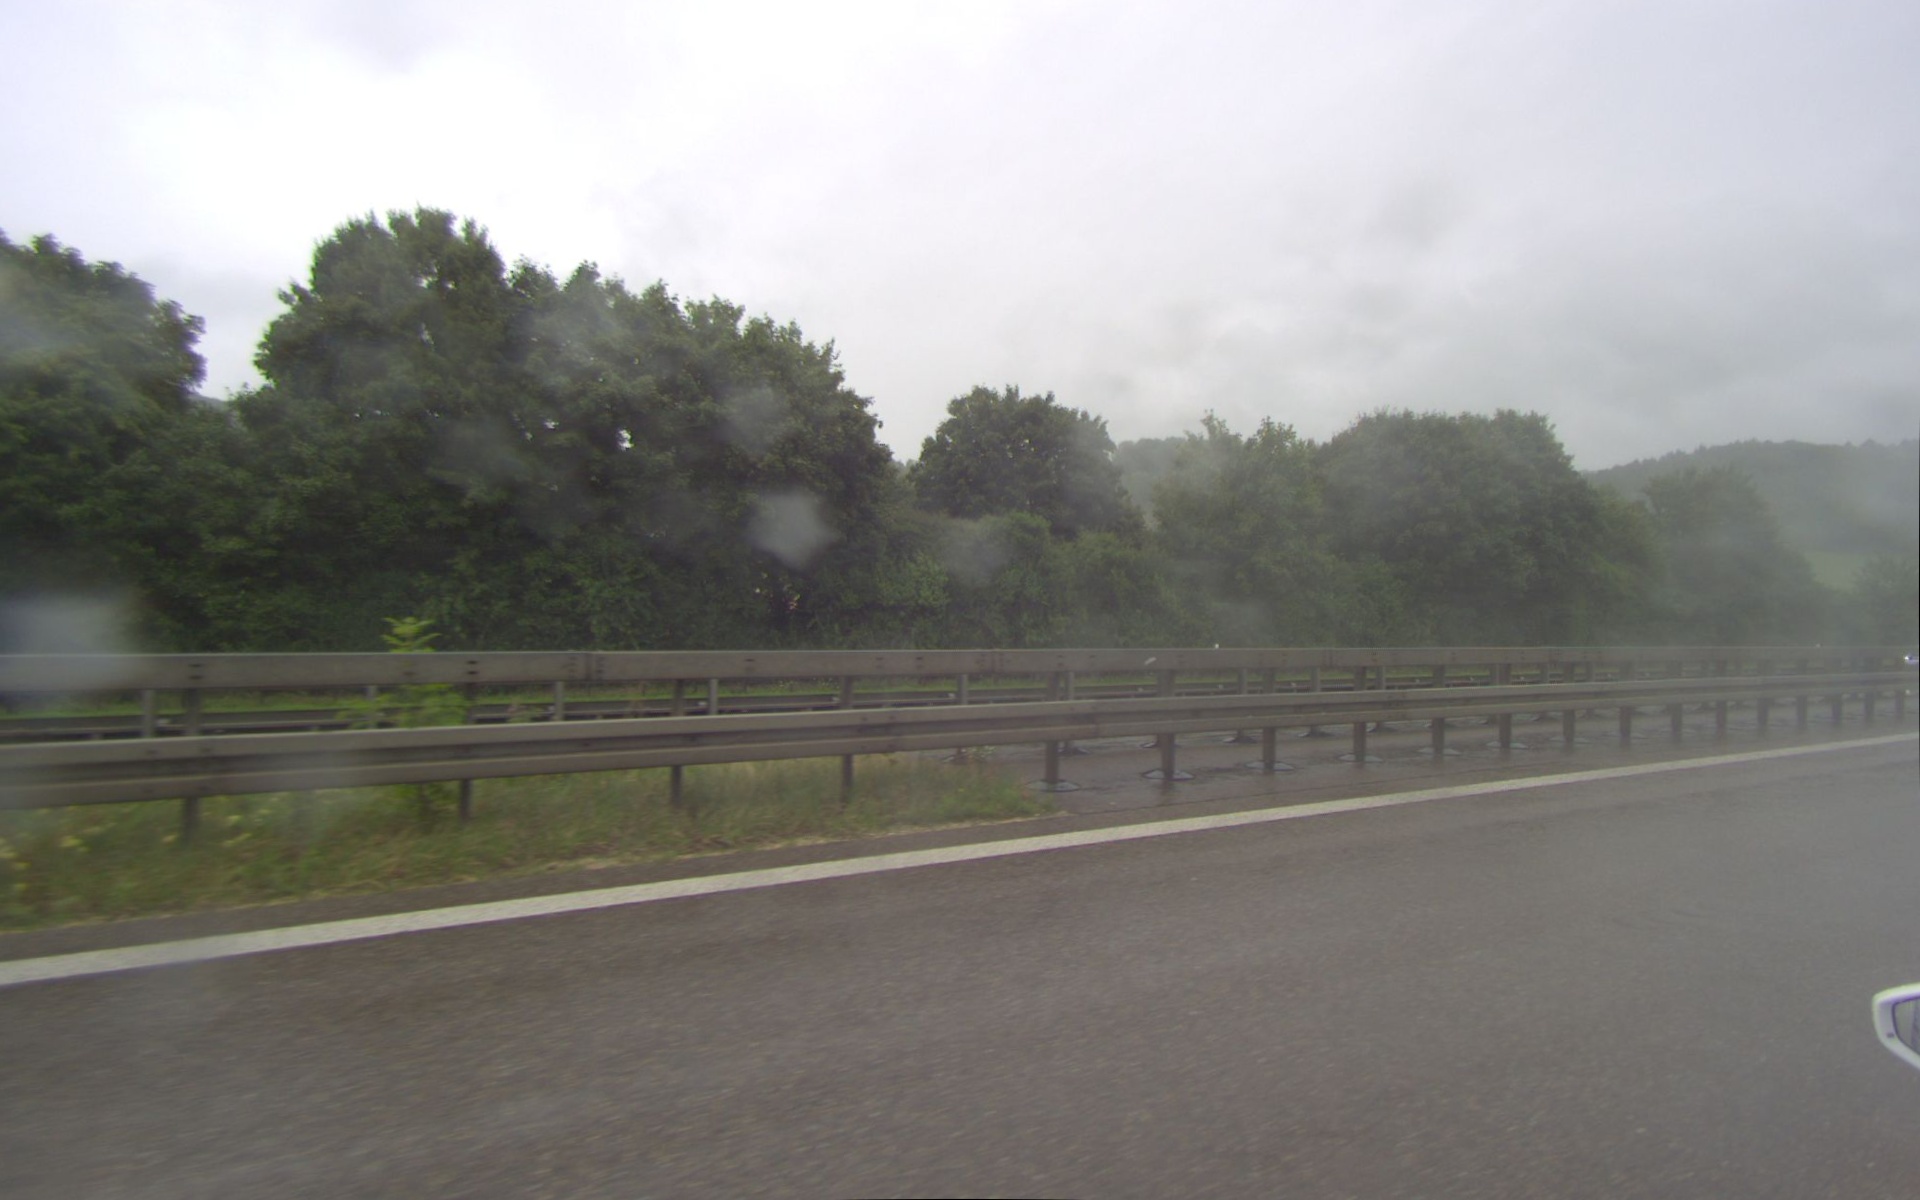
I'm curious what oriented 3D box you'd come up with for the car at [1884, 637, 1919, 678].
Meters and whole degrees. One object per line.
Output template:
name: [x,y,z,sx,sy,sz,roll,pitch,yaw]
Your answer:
car: [43.493,2.531,44.746,5.242,1.714,1.984,1,-2,-30]
